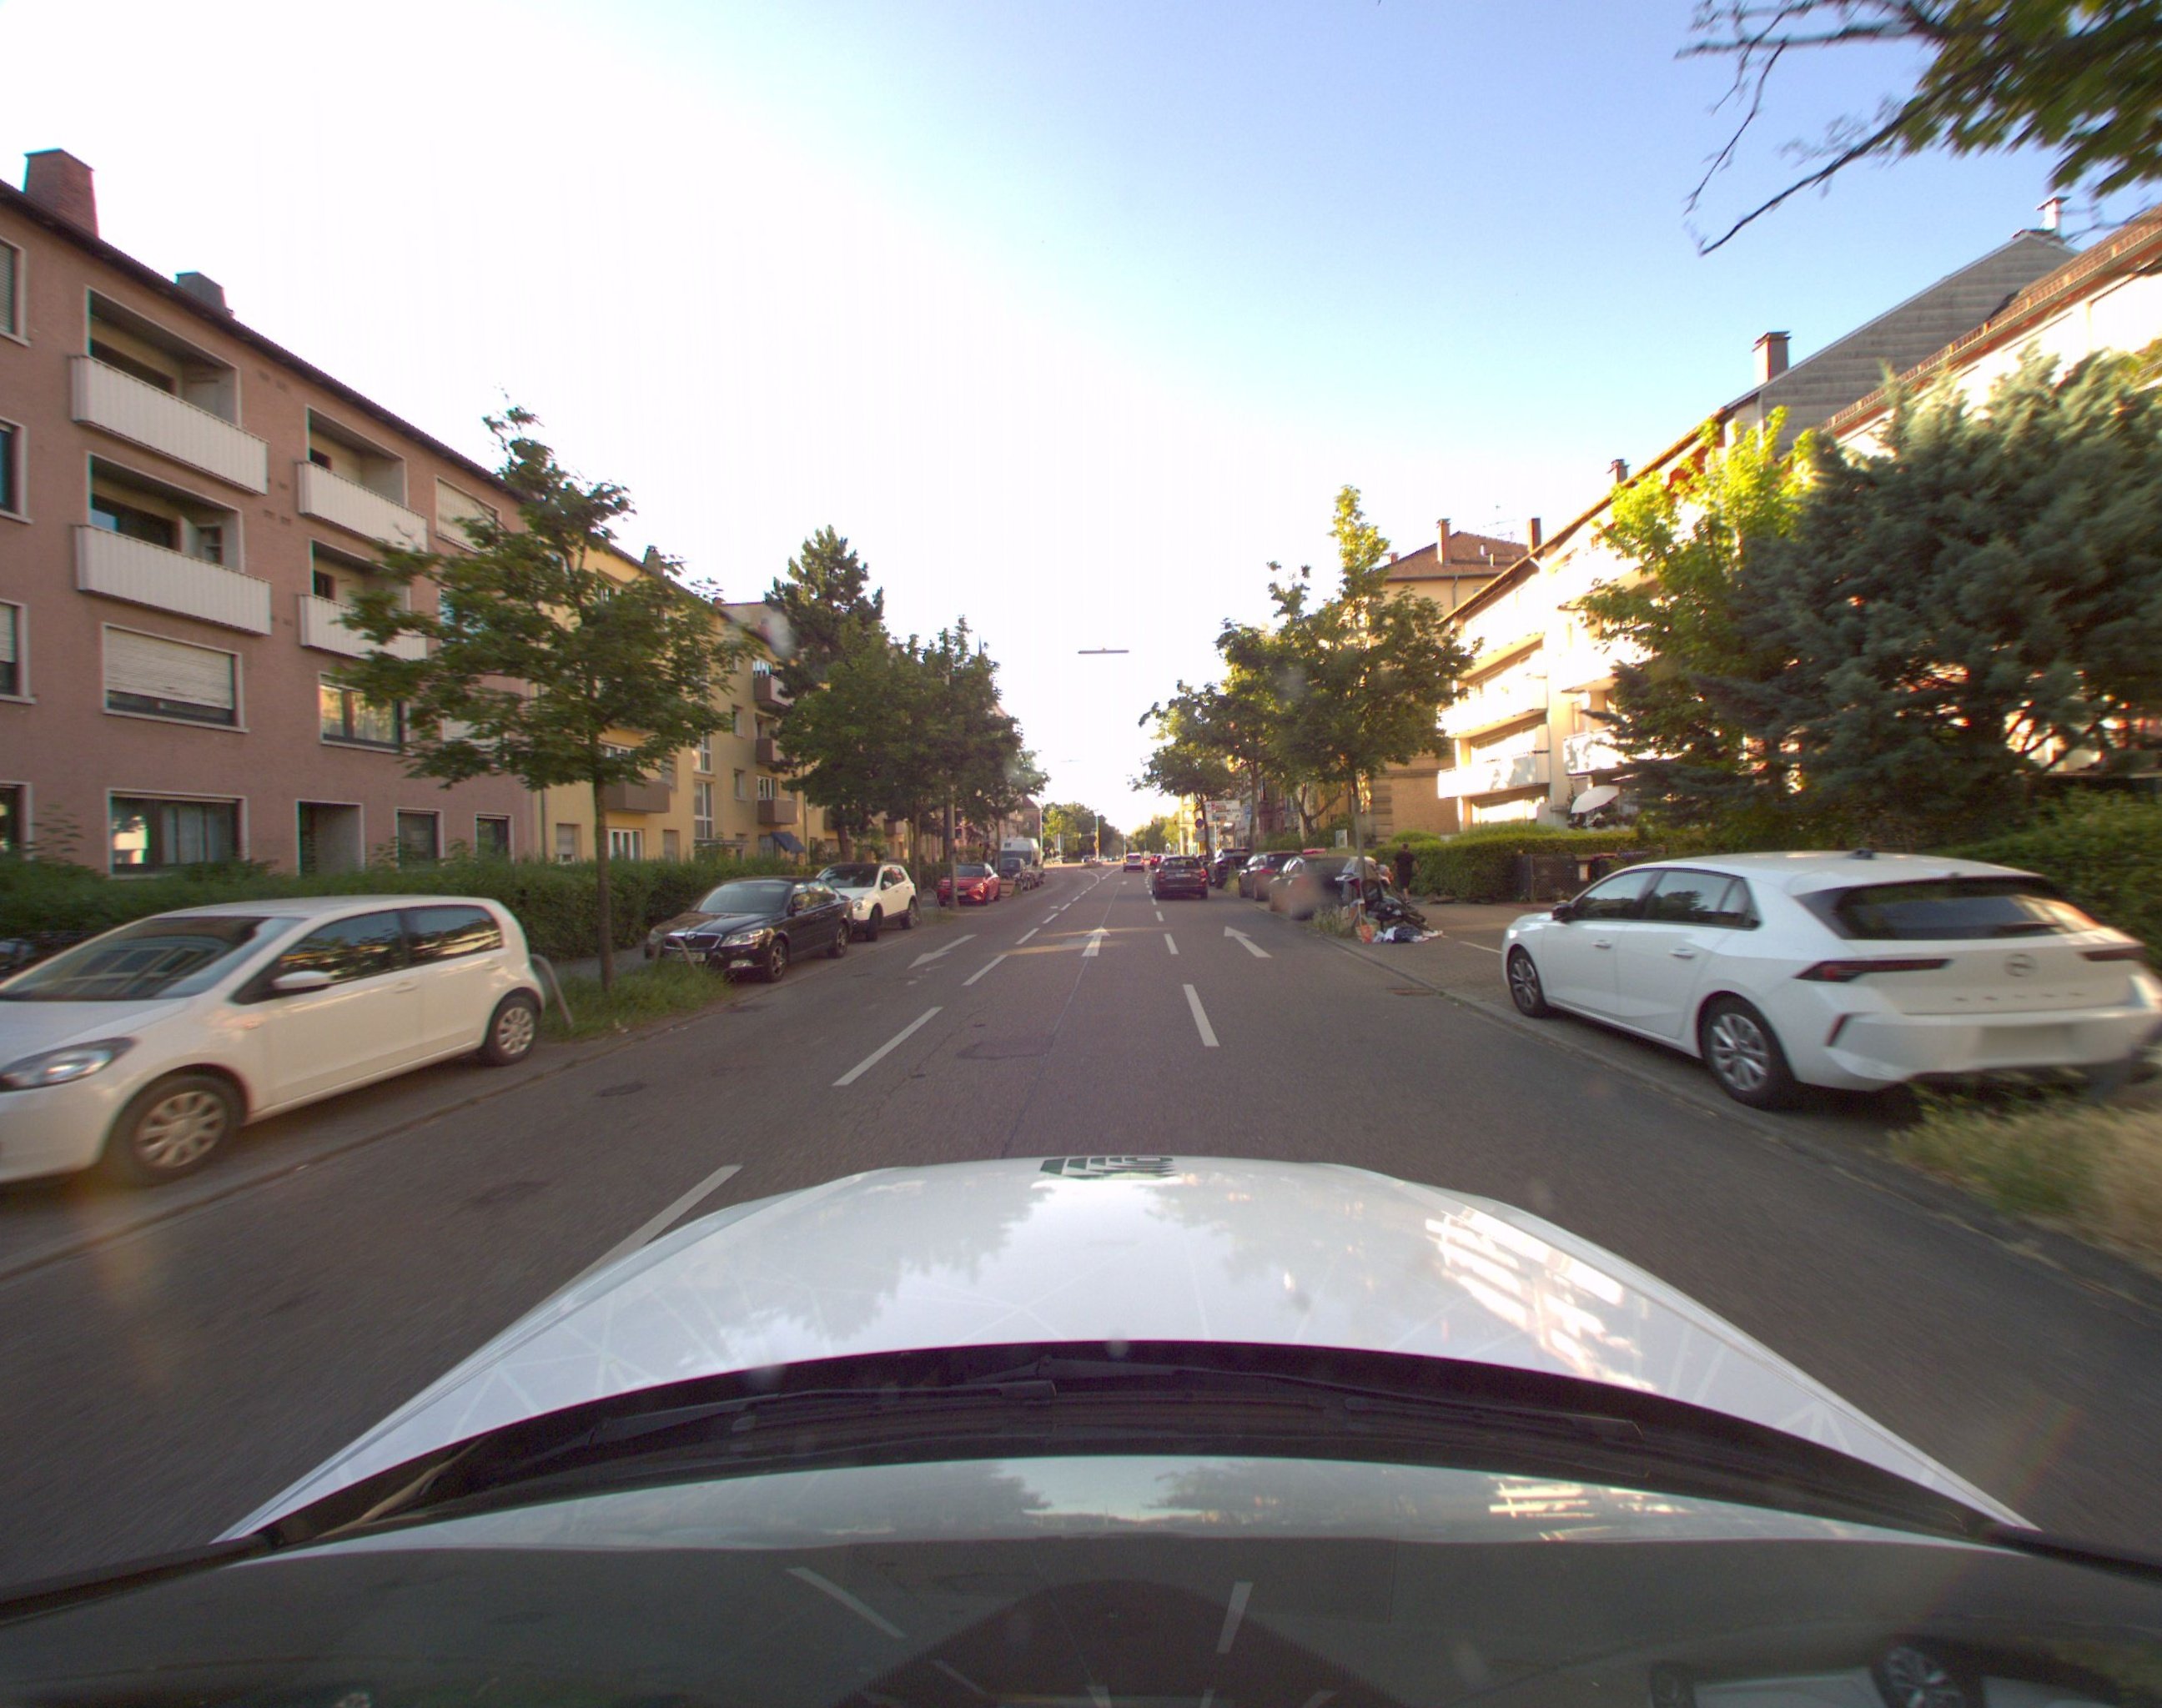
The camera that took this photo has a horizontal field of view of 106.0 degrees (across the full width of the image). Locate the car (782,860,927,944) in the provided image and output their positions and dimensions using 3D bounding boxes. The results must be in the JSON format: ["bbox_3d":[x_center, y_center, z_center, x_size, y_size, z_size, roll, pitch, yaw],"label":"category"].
[{"bbox_3d":[-4.865,0.957,18.124,1.769,1.588,4.190,-1,0,4],"label":"car"}]

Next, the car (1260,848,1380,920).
[{"bbox_3d":[5.608,0.636,19.671,1.762,1.448,4.488,-3,0,3],"label":"car"}]

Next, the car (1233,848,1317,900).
[{"bbox_3d":[6.136,0.587,26.239,1.710,1.472,4.433,-3,0,2],"label":"car"}]

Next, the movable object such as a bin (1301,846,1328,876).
[{"bbox_3d":[12.046,0.361,41.954,1.242,1.441,0.999,-2,0,18],"label":"movable object such as a bin"}]

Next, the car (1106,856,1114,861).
[{"bbox_3d":[7.636,1.195,213.175,1.772,1.236,4.005,-2,0,4],"label":"car"}]

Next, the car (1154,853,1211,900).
[{"bbox_3d":[3.374,0.695,27.763,1.700,1.457,4.163,-1,0,4],"label":"car"}]

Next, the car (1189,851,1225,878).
[{"bbox_3d":[7.900,0.598,51.278,1.847,1.512,4.841,-3,0,5],"label":"car"}]

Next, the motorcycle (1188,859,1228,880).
[{"bbox_3d":[6.800,0.830,43.631,1.924,1.071,0.818,-2,0,-9],"label":"motorcycle"}]

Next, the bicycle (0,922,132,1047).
[{"bbox_3d":[-10.443,1.274,8.141,0.534,1.050,1.470,-2,0,-18],"label":"bicycle"}]

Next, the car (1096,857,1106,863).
[{"bbox_3d":[4.245,1.197,172.712,1.772,1.236,4.005,-2,0,4],"label":"car"}]

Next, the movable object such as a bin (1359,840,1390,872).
[{"bbox_3d":[14.993,0.115,41.607,1.153,1.555,0.992,-2,0,-6],"label":"movable object such as a bin"}]

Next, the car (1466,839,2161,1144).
[{"bbox_3d":[4.706,0.672,6.117,1.754,1.402,4.338,-3,0,4],"label":"car"}]

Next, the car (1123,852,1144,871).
[{"bbox_3d":[4.398,0.582,68.512,1.700,1.510,4.313,-1,0,4],"label":"car"}]

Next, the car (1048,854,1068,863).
[{"bbox_3d":[-4.207,0.878,151.079,3.314,1.494,1.631,-2,0,12],"label":"car"}]

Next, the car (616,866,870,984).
[{"bbox_3d":[-5.103,0.982,13.130,1.985,1.448,4.462,-2,0,3],"label":"car"}]

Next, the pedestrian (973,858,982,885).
[{"bbox_3d":[-6.549,1.088,51.451,0.479,1.652,0.724,-2,0,-3],"label":"pedestrian"}]

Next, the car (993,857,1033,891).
[{"bbox_3d":[-3.177,0.917,38.458,1.397,1.548,2.766,0,0,5],"label":"car"}]

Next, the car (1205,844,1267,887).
[{"bbox_3d":[6.592,0.455,35.056,1.940,1.655,4.799,-2,0,3],"label":"car"}]

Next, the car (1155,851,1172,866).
[{"bbox_3d":[8.546,0.482,84.772,1.643,1.484,4.244,-1,0,4],"label":"car"}]

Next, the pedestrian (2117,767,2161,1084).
[{"bbox_3d":[6.414,0.401,4.380,0.665,1.783,0.765,1,-2,3],"label":"pedestrian"}]

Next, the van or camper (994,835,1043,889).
[{"bbox_3d":[-3.248,0.405,43.308,2.028,2.664,6.017,0,0,1],"label":"van or camper"}]

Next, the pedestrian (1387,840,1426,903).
[{"bbox_3d":[8.566,0.446,21.467,0.743,1.616,0.580,-2,0,1],"label":"pedestrian"}]

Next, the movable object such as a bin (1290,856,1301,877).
[{"bbox_3d":[11.025,0.636,41.911,0.490,1.059,0.550,-2,0,16],"label":"movable object such as a bin"}]

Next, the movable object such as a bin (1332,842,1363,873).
[{"bbox_3d":[13.670,0.184,41.852,1.153,1.555,0.992,-2,0,-6],"label":"movable object such as a bin"}]

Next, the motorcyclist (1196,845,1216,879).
[{"bbox_3d":[6.656,0.434,43.486,0.735,1.778,1.085,-2,-1,-8],"label":"motorcyclist"}]

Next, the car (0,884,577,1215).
[{"bbox_3d":[-5.570,1.021,5.768,1.584,1.492,3.644,-1,-1,3],"label":"car"}]

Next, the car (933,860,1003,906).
[{"bbox_3d":[-3.949,0.983,29.079,1.709,1.451,3.927,-1,0,3],"label":"car"}]

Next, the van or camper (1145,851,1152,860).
[{"bbox_3d":[20.771,0.475,251.427,1.984,2.640,5.358,-2,0,5],"label":"van or camper"}]

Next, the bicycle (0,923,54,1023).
[{"bbox_3d":[-12.023,1.329,8.724,0.534,1.050,1.469,-2,0,-19],"label":"bicycle"}]

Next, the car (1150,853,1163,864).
[{"bbox_3d":[9.745,0.591,105.771,1.578,1.446,3.651,-1,0,4],"label":"car"}]
